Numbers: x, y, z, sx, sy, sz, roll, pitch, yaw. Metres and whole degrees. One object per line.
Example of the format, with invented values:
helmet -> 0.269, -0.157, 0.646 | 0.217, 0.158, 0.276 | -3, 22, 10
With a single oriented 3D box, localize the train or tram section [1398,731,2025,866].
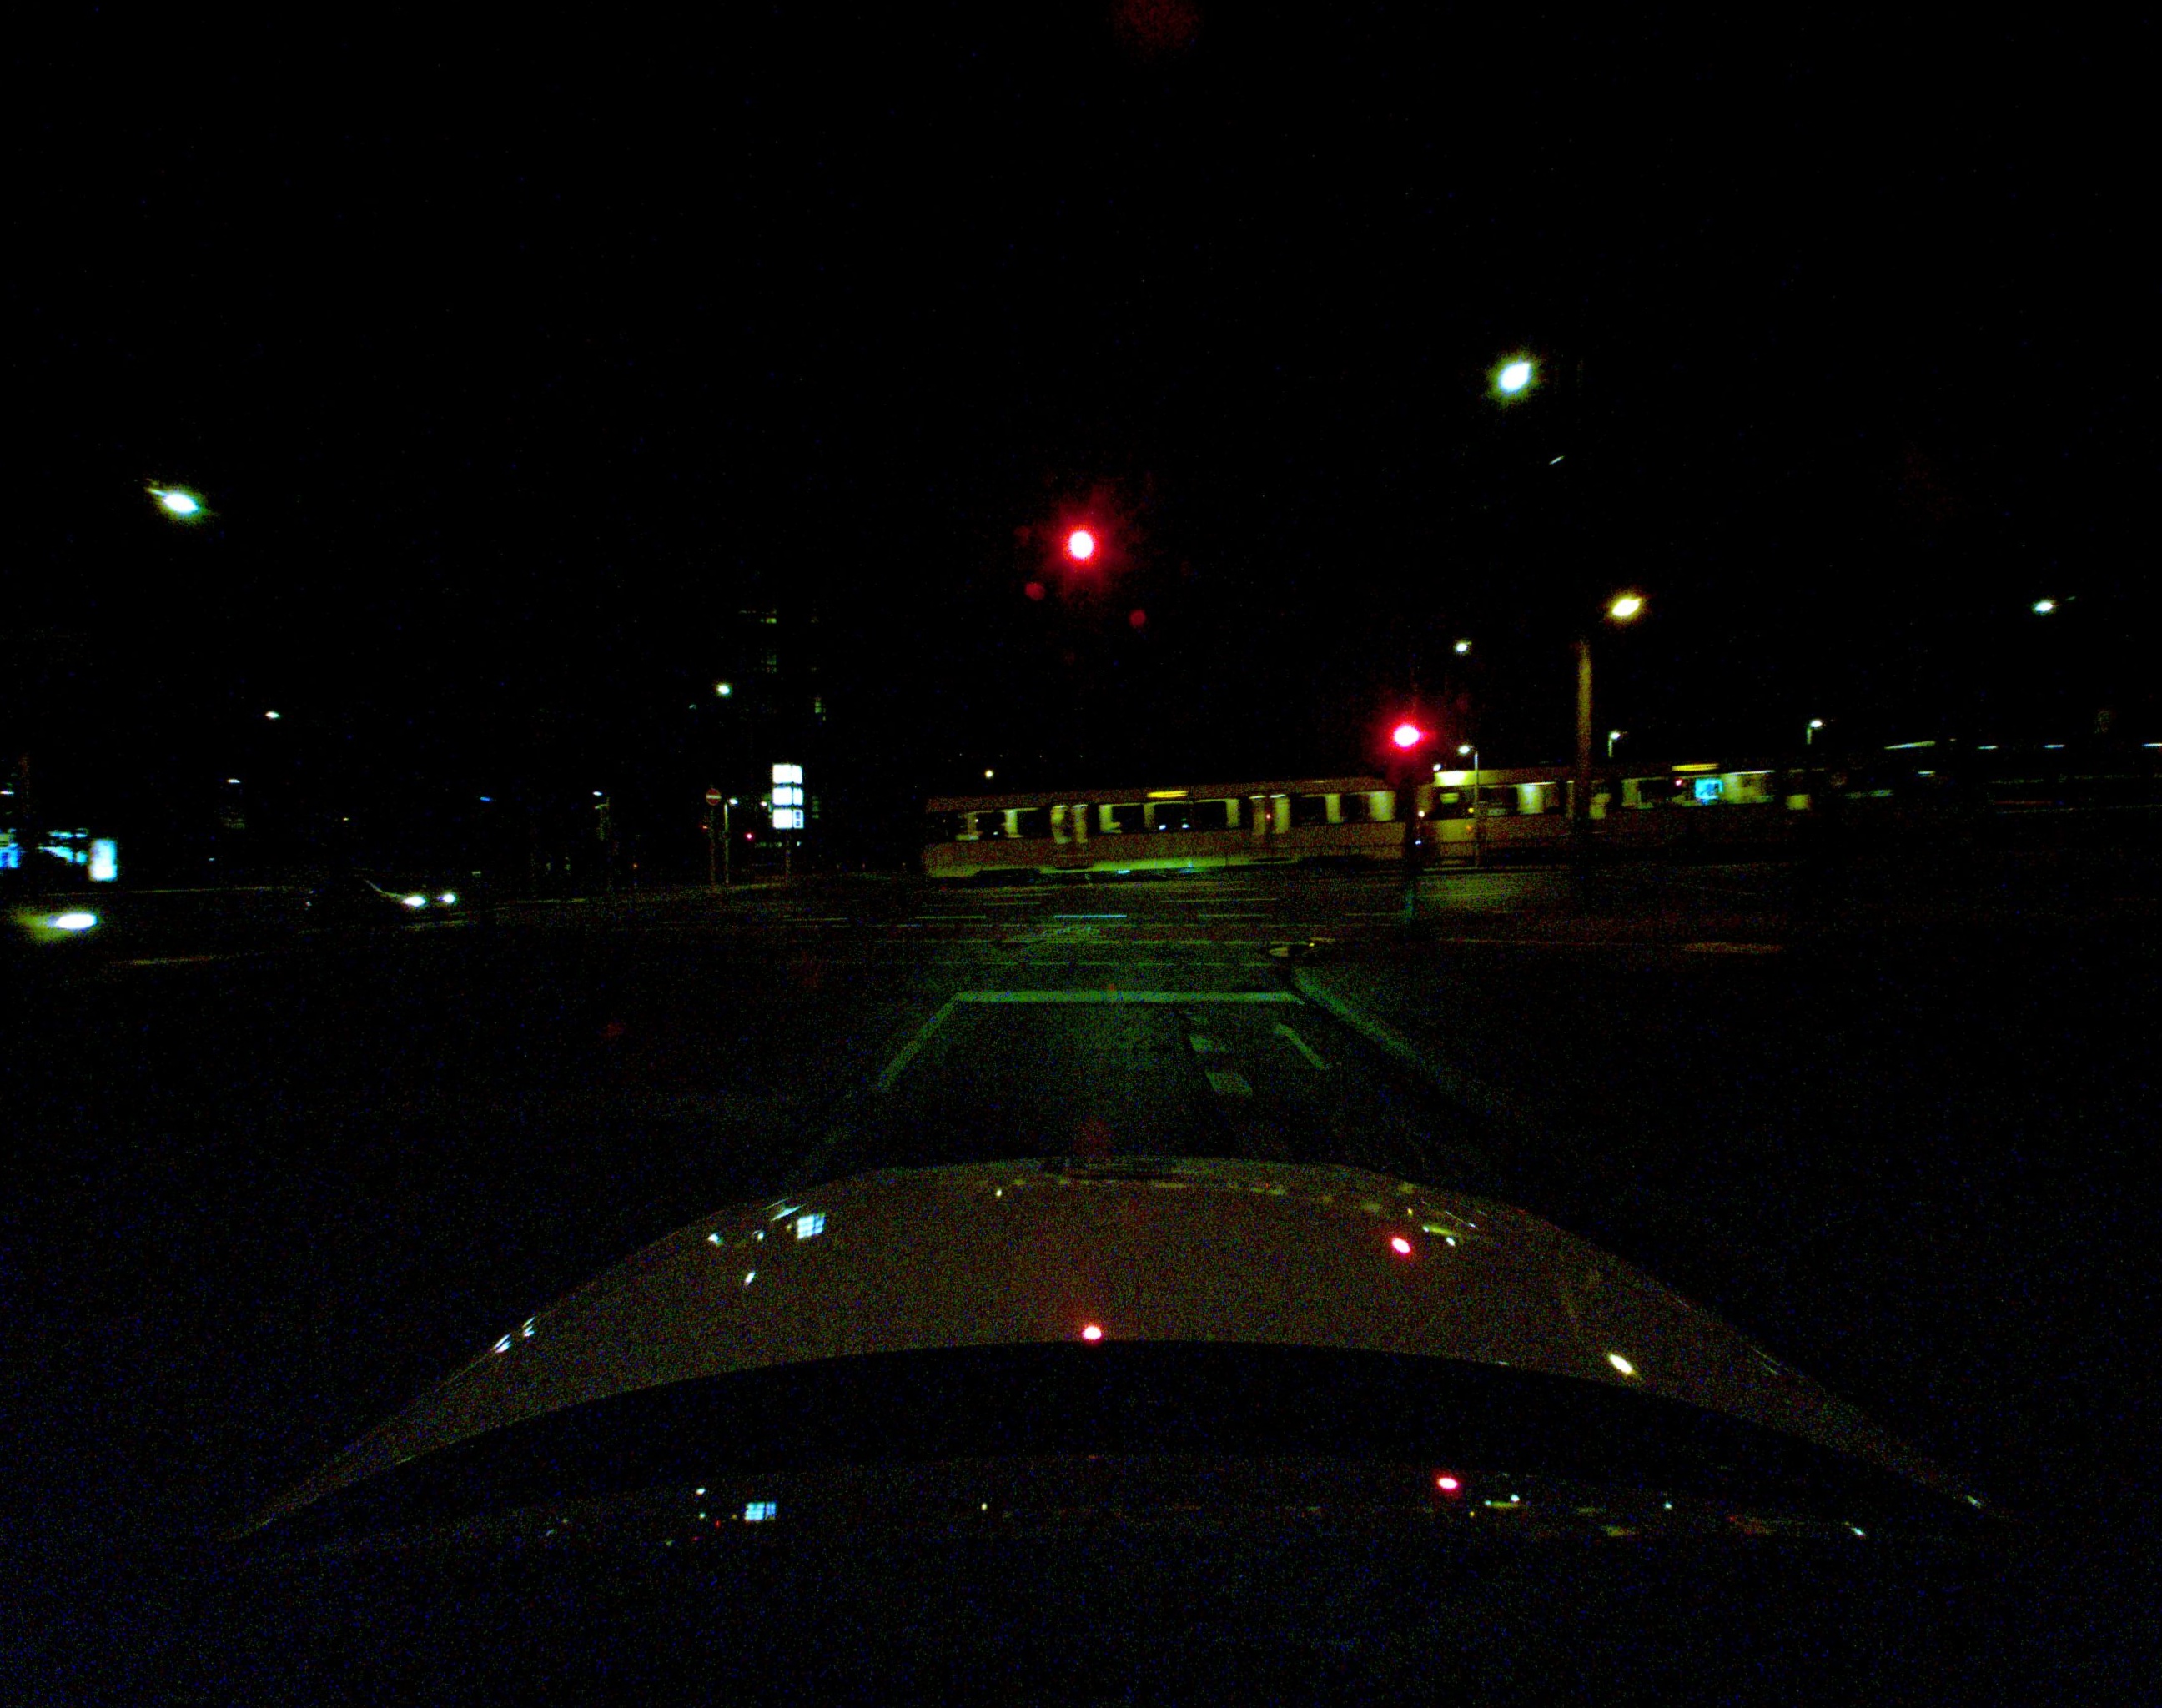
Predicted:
train or tram section -> 21.710, -1.829, 29.250 | 19.075, 3.823, 2.929 | -2, 0, 6

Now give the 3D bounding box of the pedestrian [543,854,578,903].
pedestrian -> -19.317, 0.891, 30.258 | 0.762, 1.737, 0.659 | -3, 1, 1

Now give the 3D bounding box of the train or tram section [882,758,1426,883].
train or tram section -> 2.506, -1.165, 31.224 | 19.691, 3.861, 2.946 | -2, 0, 6

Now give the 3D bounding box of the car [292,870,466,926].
car -> -20.993, 1.297, 24.442 | 3.741, 1.480, 1.913 | -2, 0, 8

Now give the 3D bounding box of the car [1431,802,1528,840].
car -> 20.456, -1.668, 41.940 | 4.034, 1.615, 1.874 | -4, 0, 9

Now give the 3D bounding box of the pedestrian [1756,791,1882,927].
pedestrian -> 9.850, 0.061, 10.901 | 0.895, 1.712, 0.776 | -3, 0, 6
